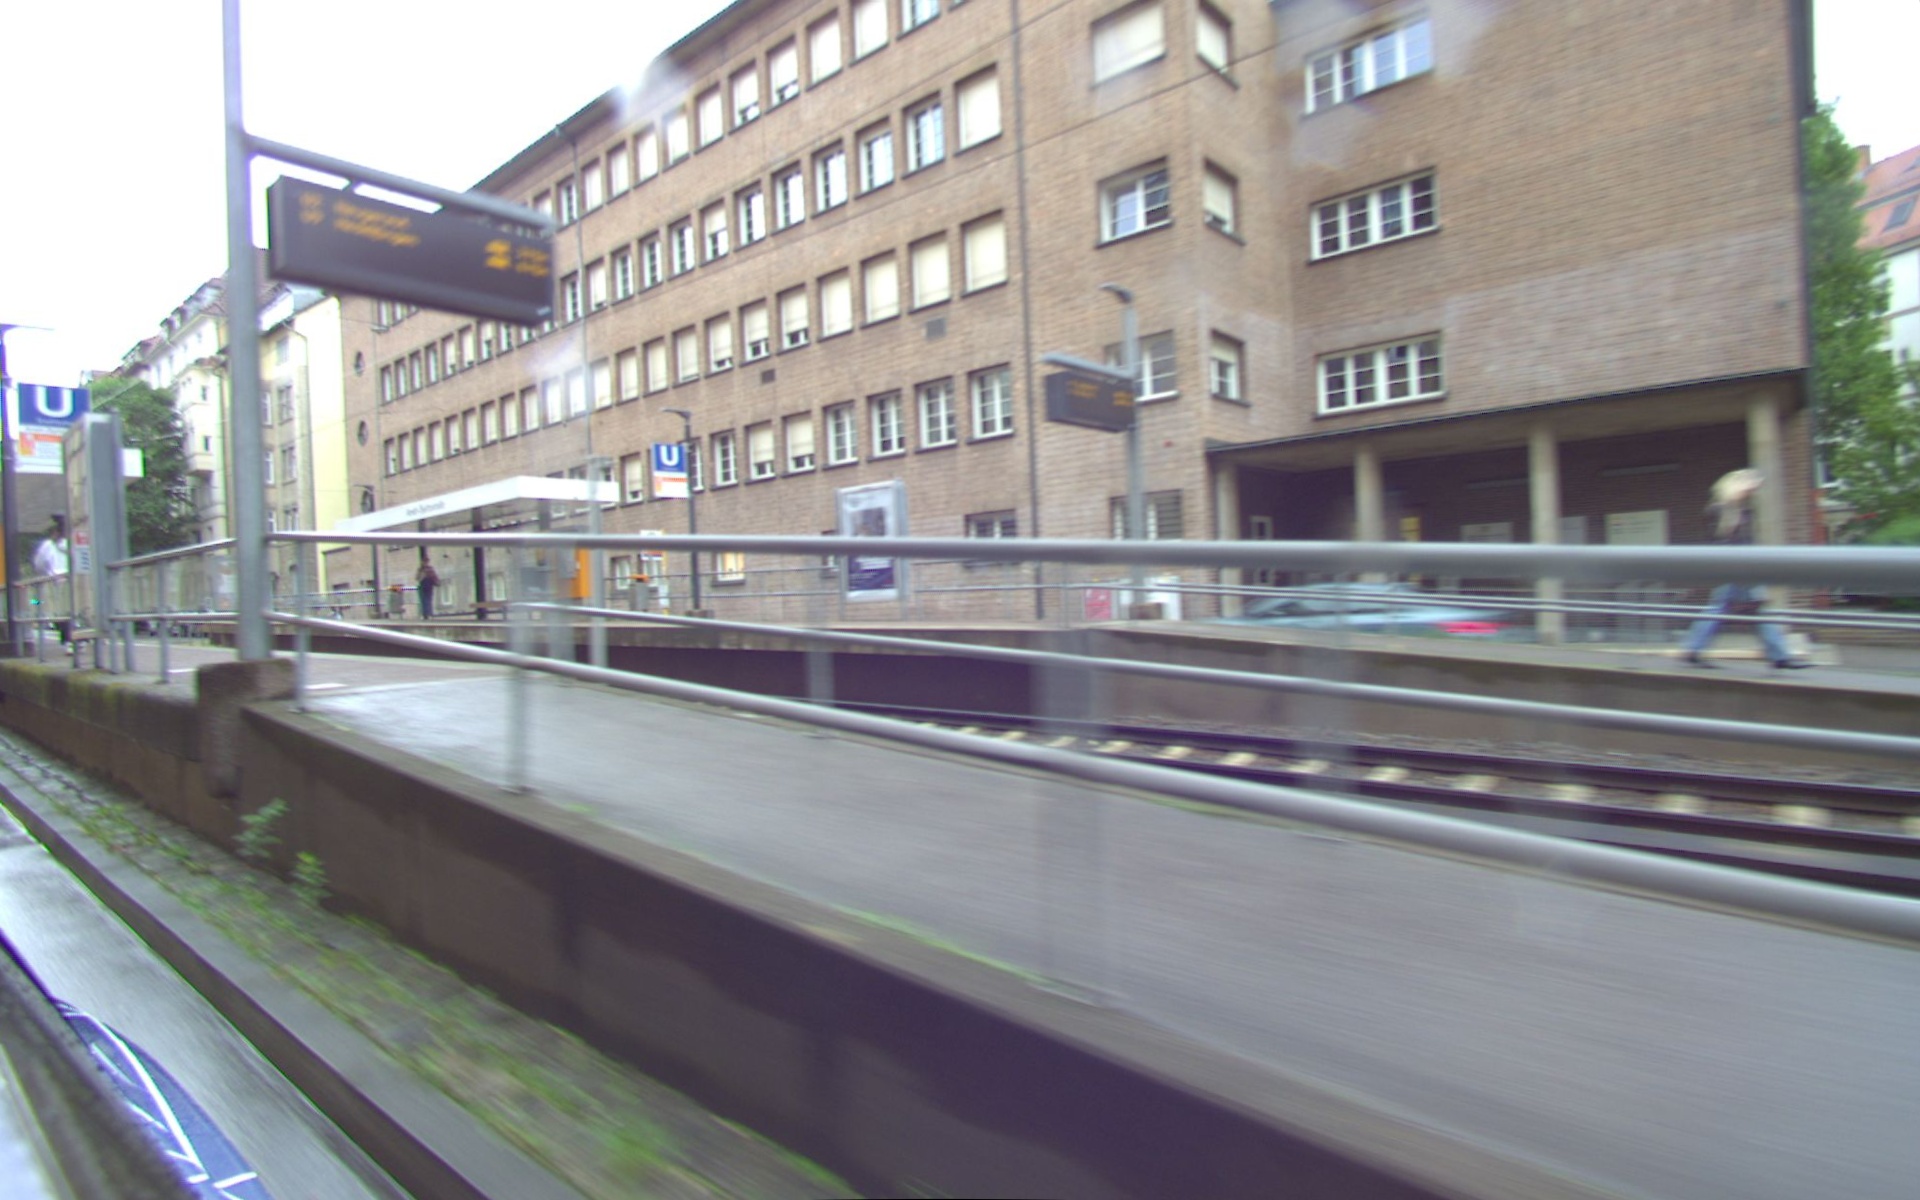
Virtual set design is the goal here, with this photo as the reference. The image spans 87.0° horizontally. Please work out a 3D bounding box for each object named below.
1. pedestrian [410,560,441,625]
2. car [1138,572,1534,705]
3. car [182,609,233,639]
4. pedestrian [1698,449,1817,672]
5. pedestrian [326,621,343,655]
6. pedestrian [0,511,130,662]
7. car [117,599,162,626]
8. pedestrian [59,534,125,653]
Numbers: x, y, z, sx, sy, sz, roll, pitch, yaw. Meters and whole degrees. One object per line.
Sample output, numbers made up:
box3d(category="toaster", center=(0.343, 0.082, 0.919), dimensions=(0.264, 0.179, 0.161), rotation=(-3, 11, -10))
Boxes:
box3d(category="pedestrian", center=(-14.294, -0.190, 27.069), dimensions=(0.491, 1.722, 0.581), rotation=(-1, -1, 40))
box3d(category="car", center=(4.915, 0.467, 13.722), dimensions=(4.762, 1.508, 1.626), rotation=(-1, 0, 41))
box3d(category="car", center=(-39.801, 1.258, 53.514), dimensions=(3.111, 1.477, 1.627), rotation=(-1, 0, 43))
box3d(category="pedestrian", center=(6.472, -0.328, 8.243), dimensions=(0.688, 1.711, 0.658), rotation=(2, 4, 38))
box3d(category="pedestrian", center=(-30.758, 1.862, 49.761), dimensions=(0.542, 1.666, 0.542), rotation=(-1, -2, 42))
box3d(category="pedestrian", center=(-11.311, -0.171, 12.761), dimensions=(1.111, 1.788, 1.102), rotation=(-1, 1, 41))
box3d(category="car", center=(-55.341, 0.877, 68.205), dimensions=(4.096, 1.719, 1.627), rotation=(-1, 0, 41))
box3d(category="pedestrian", center=(-13.519, -0.101, 15.763), dimensions=(0.710, 1.788, 0.637), rotation=(-1, 1, 41))
